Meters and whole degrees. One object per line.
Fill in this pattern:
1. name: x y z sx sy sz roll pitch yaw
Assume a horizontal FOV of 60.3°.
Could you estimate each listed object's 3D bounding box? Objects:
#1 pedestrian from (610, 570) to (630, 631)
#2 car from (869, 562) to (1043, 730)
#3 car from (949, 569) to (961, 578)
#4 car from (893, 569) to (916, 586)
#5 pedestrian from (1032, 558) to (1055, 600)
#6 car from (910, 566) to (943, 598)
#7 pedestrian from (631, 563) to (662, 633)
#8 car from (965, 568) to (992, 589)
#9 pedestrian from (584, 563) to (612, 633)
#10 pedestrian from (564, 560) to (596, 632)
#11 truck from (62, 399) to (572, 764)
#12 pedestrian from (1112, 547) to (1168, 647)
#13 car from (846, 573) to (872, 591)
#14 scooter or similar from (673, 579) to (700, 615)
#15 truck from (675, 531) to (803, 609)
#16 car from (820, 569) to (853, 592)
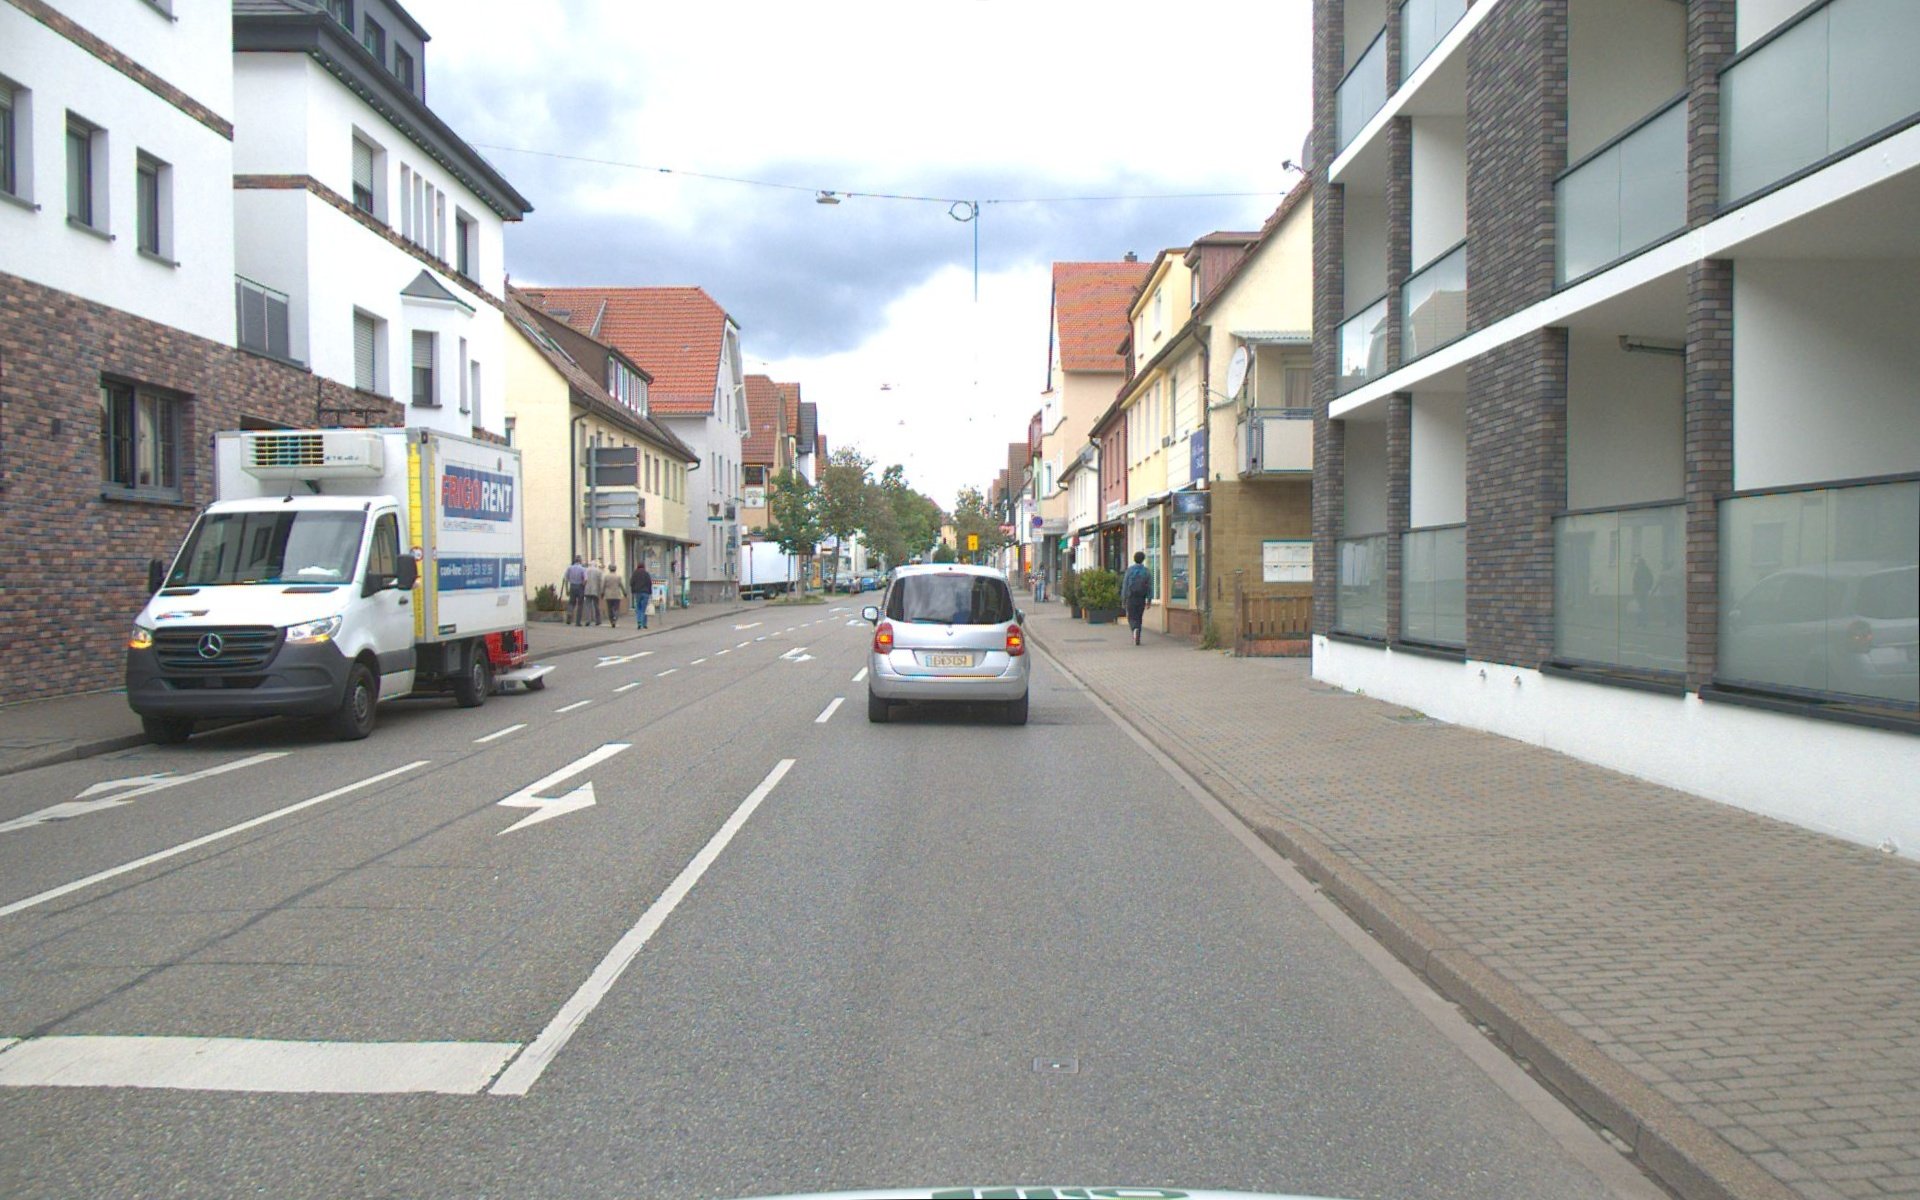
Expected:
1. pedestrian: -8.777 0.015 42.706 0.417 1.552 0.553 0 1 -1
2. car: -0.077 0.408 18.014 1.672 1.606 3.999 1 1 -1
3. car: -0.730 -4.084 253.315 1.776 1.377 4.000 -2 1 0
4. car: -4.788 -1.958 142.828 1.776 1.377 3.857 -2 1 0
5. pedestrian: 3.737 -0.938 74.272 0.871 1.817 0.785 -4 1 -1
6. car: -1.744 -0.939 86.002 1.672 1.606 3.999 1 1 -1
7. pedestrian: -8.020 -0.061 42.310 0.649 1.787 0.688 0 1 -1
8. car: 1.289 -1.528 115.734 1.776 1.377 4.000 -2 1 0
9. pedestrian: -9.337 -0.051 42.728 0.567 1.787 0.688 0 1 -1
10. pedestrian: -9.587 -0.110 41.721 0.634 1.787 0.688 0 1 -1
11. truck: -6.368 -0.240 18.072 2.386 3.005 8.363 -1 1 -1
12. pedestrian: 3.416 -0.063 31.501 0.871 1.817 0.785 -4 1 -1
13. car: -8.004 -1.457 131.735 1.776 1.377 4.000 -2 1 0
14. scooter or similar: -10.345 -0.128 62.603 0.564 1.291 2.548 -2 1 0
15. truck: -11.626 -1.630 87.608 2.554 3.924 6.819 -1 2 38
16. car: -7.802 -1.233 104.572 1.776 1.377 4.000 -2 1 0
